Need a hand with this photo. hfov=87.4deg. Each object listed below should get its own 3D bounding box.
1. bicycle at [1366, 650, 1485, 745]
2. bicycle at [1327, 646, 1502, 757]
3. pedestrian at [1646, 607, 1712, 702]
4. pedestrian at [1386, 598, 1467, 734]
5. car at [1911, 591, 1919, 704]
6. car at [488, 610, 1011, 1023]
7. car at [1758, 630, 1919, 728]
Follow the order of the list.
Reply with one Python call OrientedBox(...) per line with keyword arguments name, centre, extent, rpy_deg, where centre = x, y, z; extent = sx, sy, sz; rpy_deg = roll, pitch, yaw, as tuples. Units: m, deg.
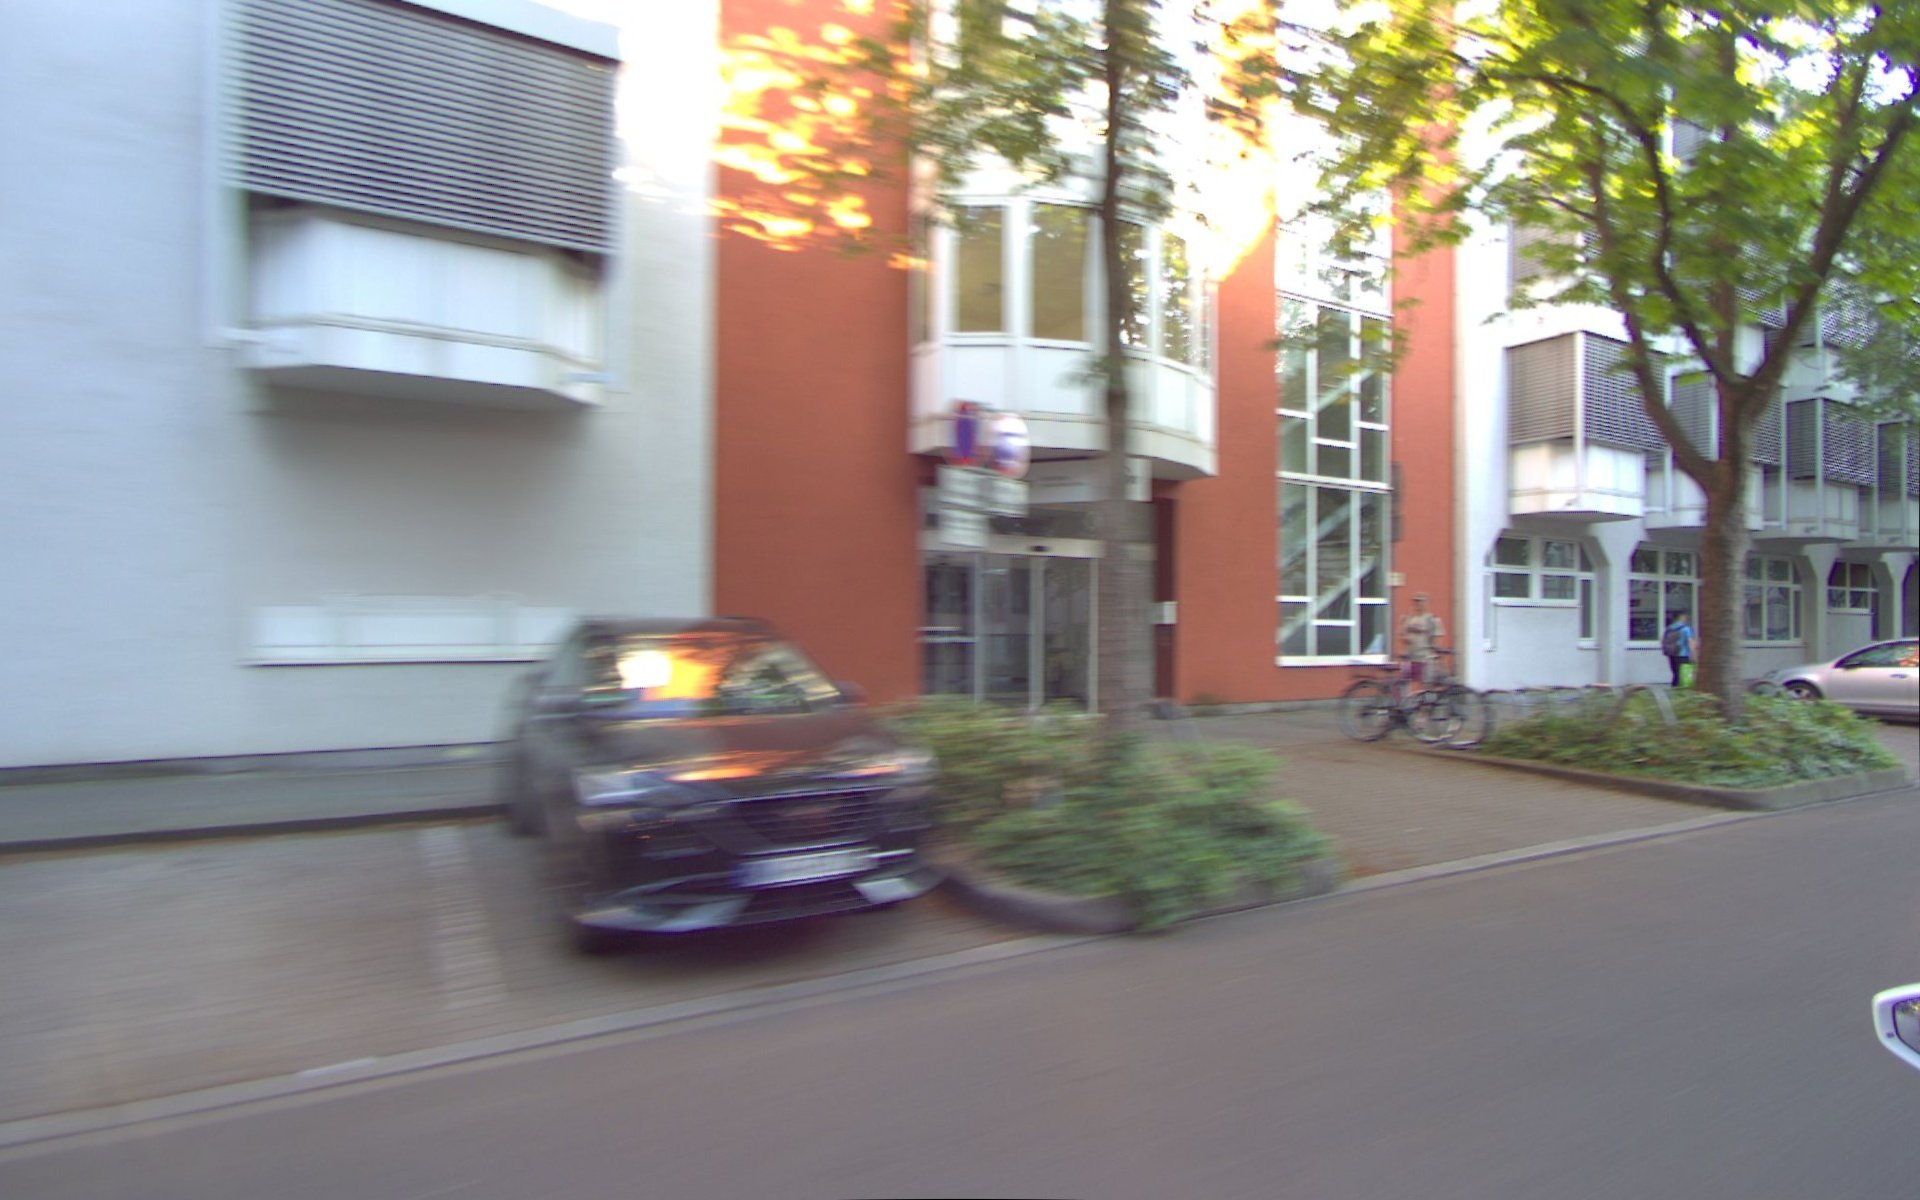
OrientedBox(name="bicycle", centre=(5.883, 1.204, 12.801), extent=(0.491, 1.043, 1.798), rpy_deg=(1, 0, -7))
OrientedBox(name="bicycle", centre=(5.228, 1.128, 11.621), extent=(1.771, 1.122, 0.498), rpy_deg=(1, 0, 37))
OrientedBox(name="pedestrian", centre=(13.580, 1.013, 18.976), extent=(0.894, 1.751, 0.700), rpy_deg=(1, -1, -30))
OrientedBox(name="pedestrian", centre=(6.322, 0.879, 13.639), extent=(0.726, 1.780, 0.705), rpy_deg=(1, -1, -6))
OrientedBox(name="car", centre=(23.158, 1.062, 20.815), extent=(1.976, 2.510, 4.662), rpy_deg=(1, -1, -29))
OrientedBox(name="car", centre=(-1.604, 0.850, 6.051), extent=(1.906, 1.506, 4.108), rpy_deg=(1, 0, -30))
OrientedBox(name="car", centre=(16.008, 1.310, 16.759), extent=(1.735, 1.506, 3.856), rpy_deg=(1, 0, -27))
